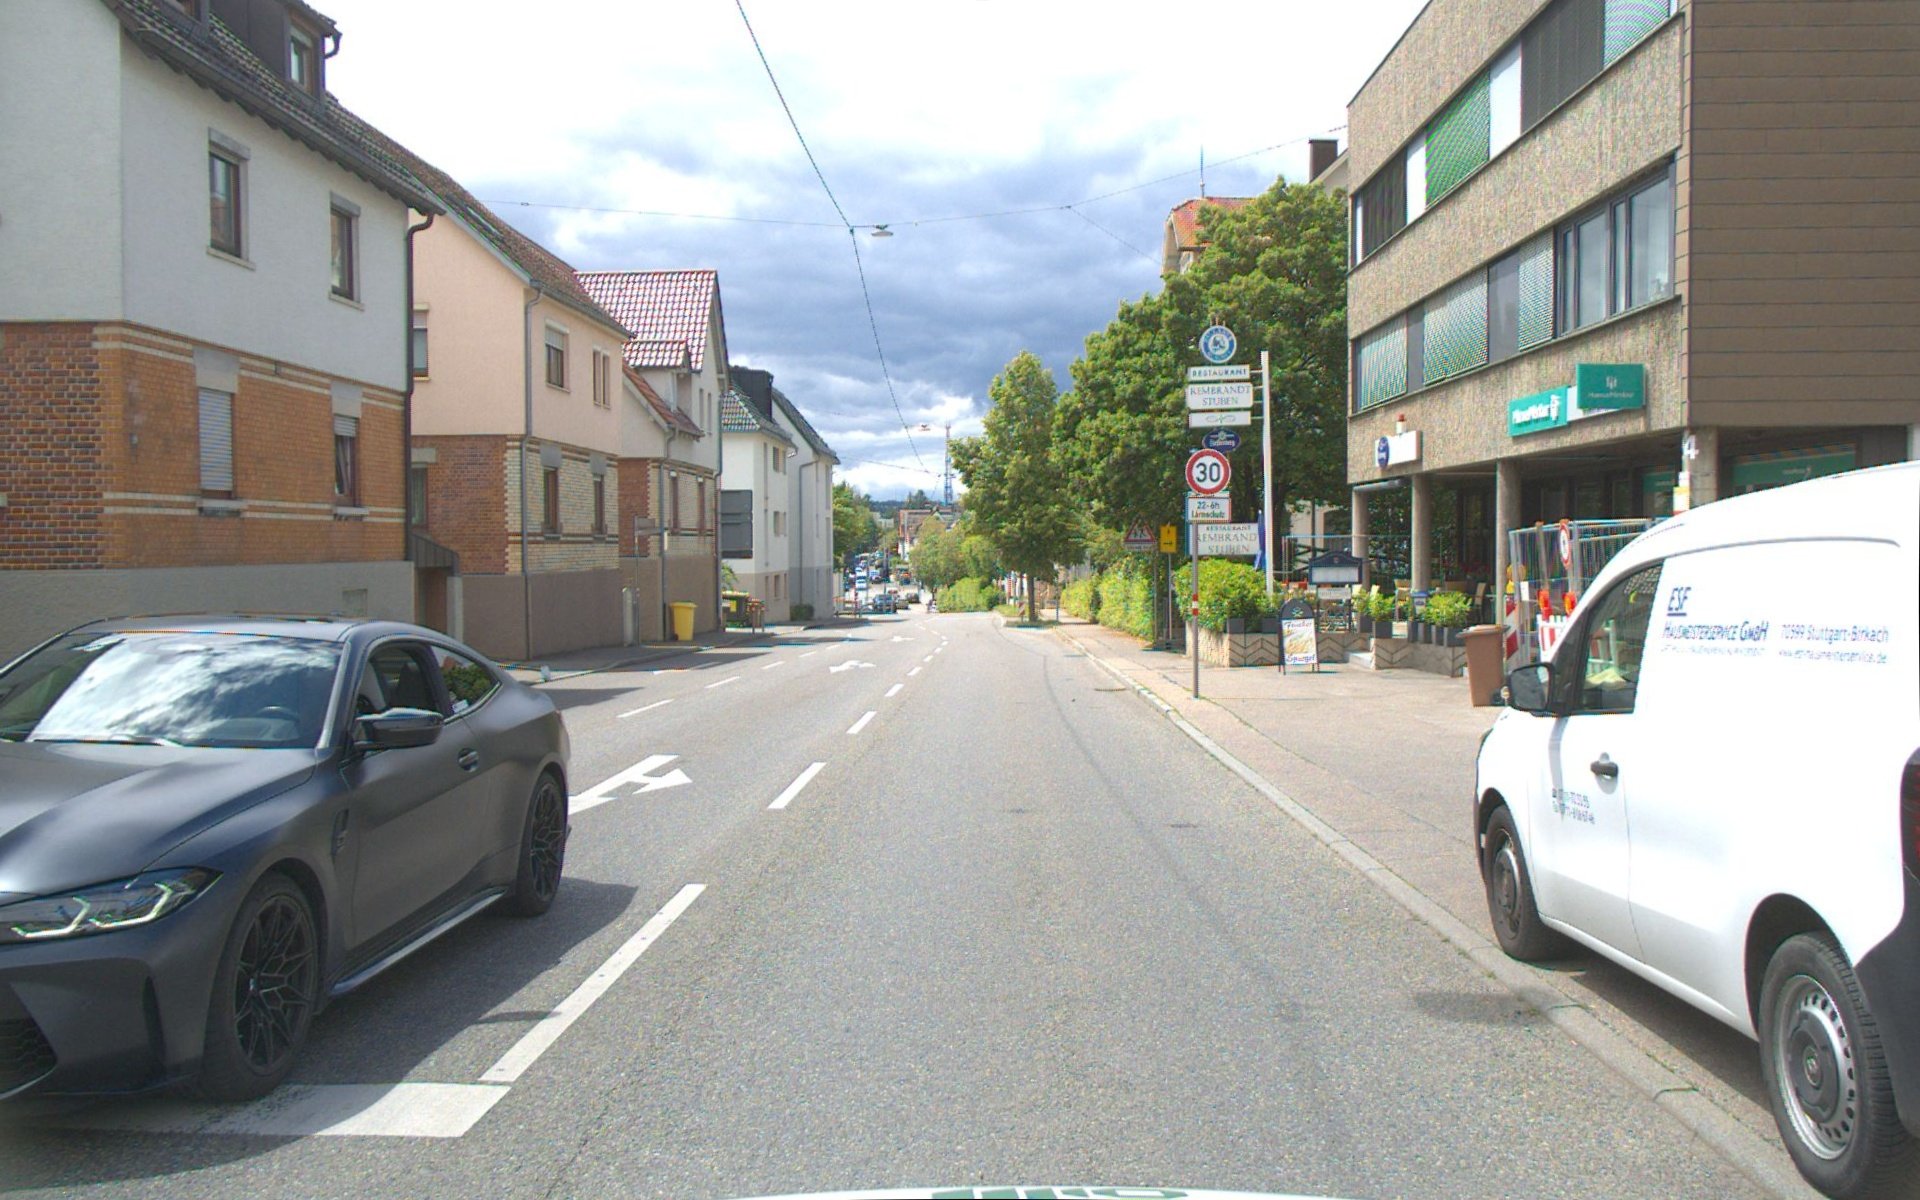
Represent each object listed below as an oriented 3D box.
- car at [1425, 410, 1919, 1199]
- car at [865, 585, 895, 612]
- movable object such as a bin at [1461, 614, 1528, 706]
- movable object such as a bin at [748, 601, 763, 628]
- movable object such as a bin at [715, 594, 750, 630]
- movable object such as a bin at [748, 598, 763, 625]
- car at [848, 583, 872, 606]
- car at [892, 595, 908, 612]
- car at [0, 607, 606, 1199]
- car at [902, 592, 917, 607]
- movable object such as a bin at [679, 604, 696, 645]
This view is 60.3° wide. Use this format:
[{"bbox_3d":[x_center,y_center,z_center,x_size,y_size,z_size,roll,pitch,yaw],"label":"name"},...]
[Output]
[{"bbox_3d":[3.126,0.416,5.591,1.872,1.825,4.492,-4,1,2],"label":"car"},{"bbox_3d":[-6.315,-0.098,130.365,1.956,2.049,3.993,-1,1,-8],"label":"car"},{"bbox_3d":[6.354,0.711,19.652,0.591,1.044,0.677,-2,1,31],"label":"movable object such as a bin"},{"bbox_3d":[-8.012,0.574,64.869,0.521,1.048,0.455,-1,0,-1],"label":"movable object such as a bin"},{"bbox_3d":[-8.772,0.454,63.785,1.256,1.332,0.815,-1,0,-5],"label":"movable object such as a bin"},{"bbox_3d":[-8.113,0.440,65.624,0.521,1.048,0.455,-1,0,-1],"label":"movable object such as a bin"},{"bbox_3d":[-9.283,-0.525,153.499,1.956,2.049,3.993,-1,1,-8],"label":"car"},{"bbox_3d":[-7.909,0.479,217.842,1.954,2.049,3.997,-2,0,-3],"label":"car"},{"bbox_3d":[-2.892,0.853,6.366,1.952,1.482,4.618,-2,1,1],"label":"car"},{"bbox_3d":[-7.143,-0.071,233.597,1.954,2.049,3.997,-2,0,-3],"label":"car"},{"bbox_3d":[-7.870,0.705,47.782,0.422,1.147,0.299,-2,0,0],"label":"movable object such as a bin"}]
